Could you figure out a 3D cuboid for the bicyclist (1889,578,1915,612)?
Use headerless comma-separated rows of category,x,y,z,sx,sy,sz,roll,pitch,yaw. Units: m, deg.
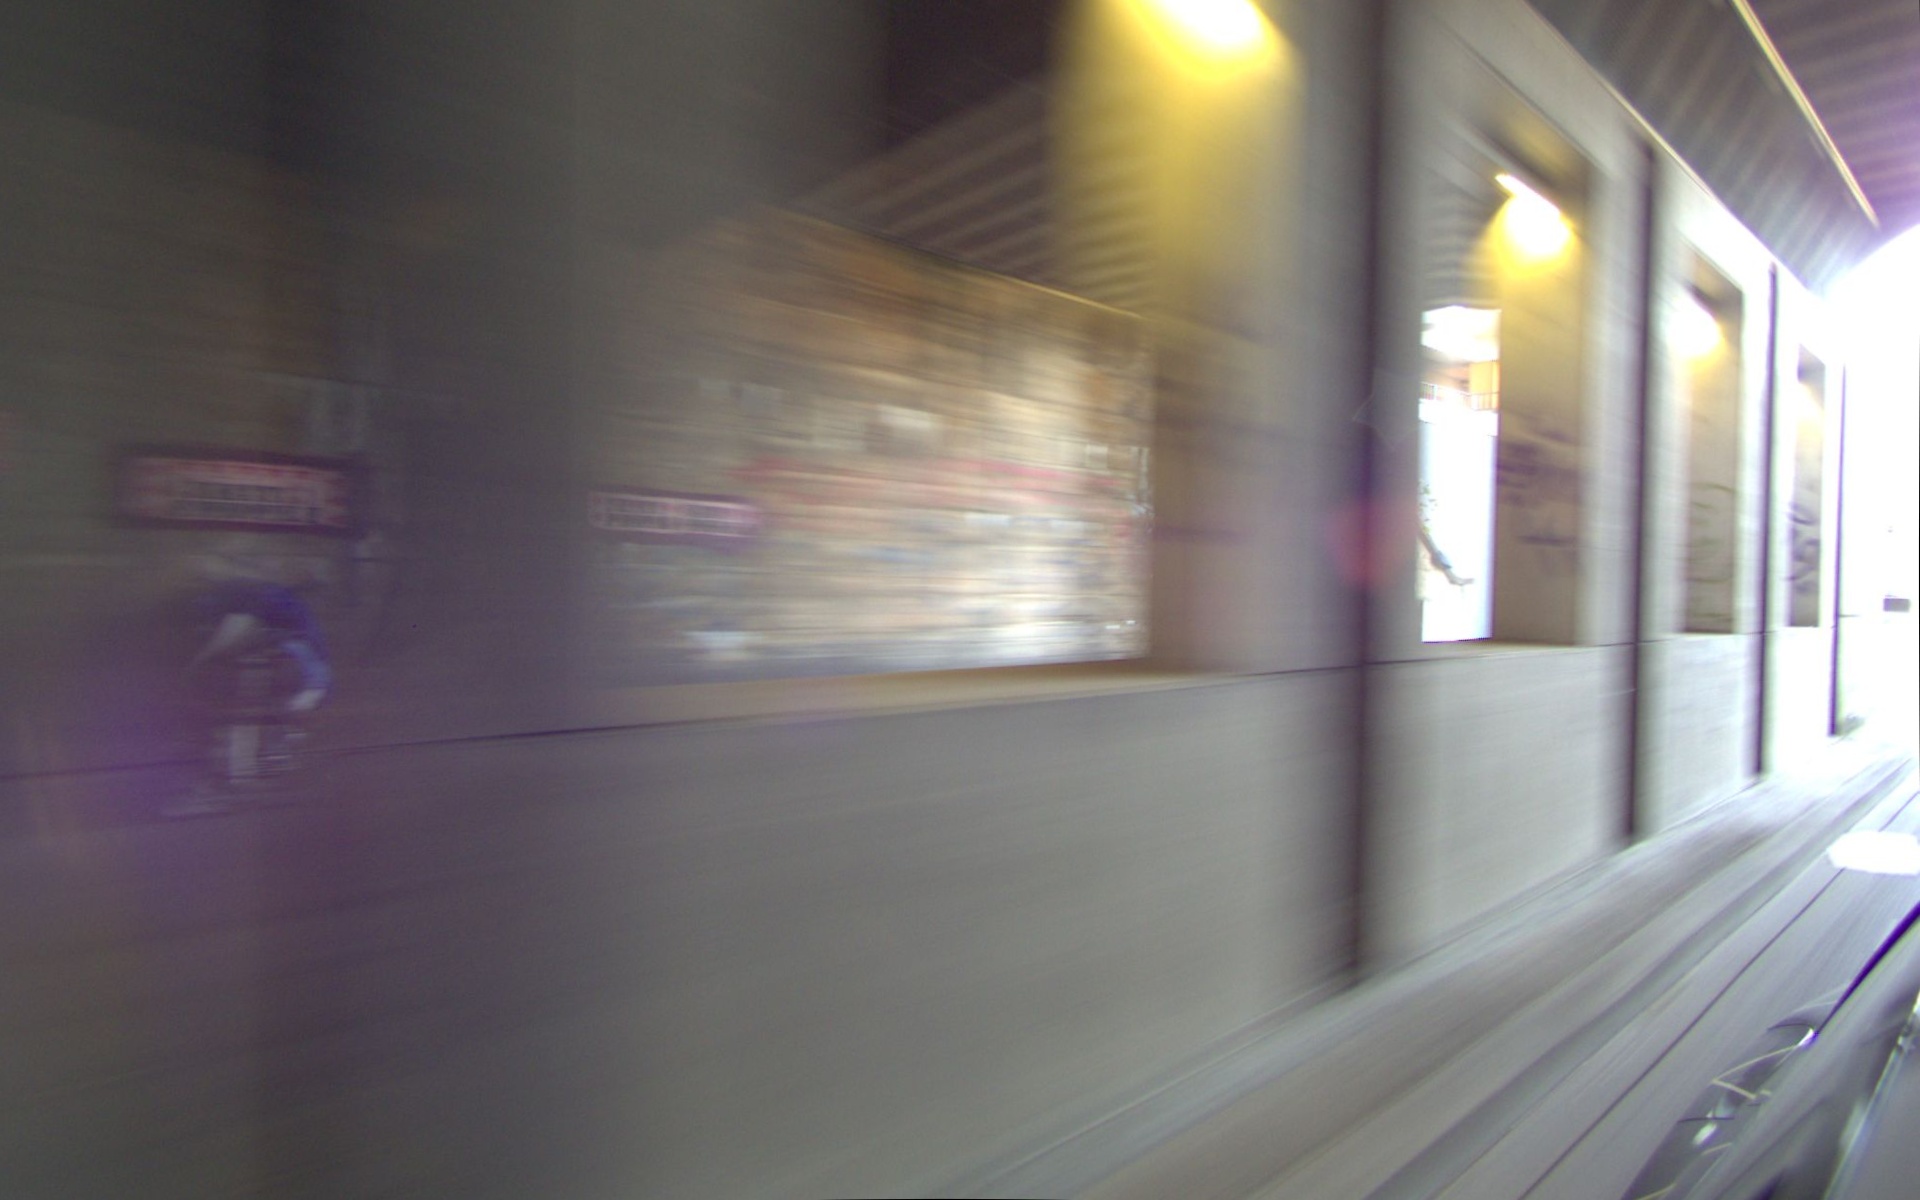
bicyclist,45.803,-0.261,49.213,1.129,1.619,0.813,1,1,-42

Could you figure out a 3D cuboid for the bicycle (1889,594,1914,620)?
bicycle,45.826,0.341,49.253,1.966,1.207,0.720,0,1,-42
